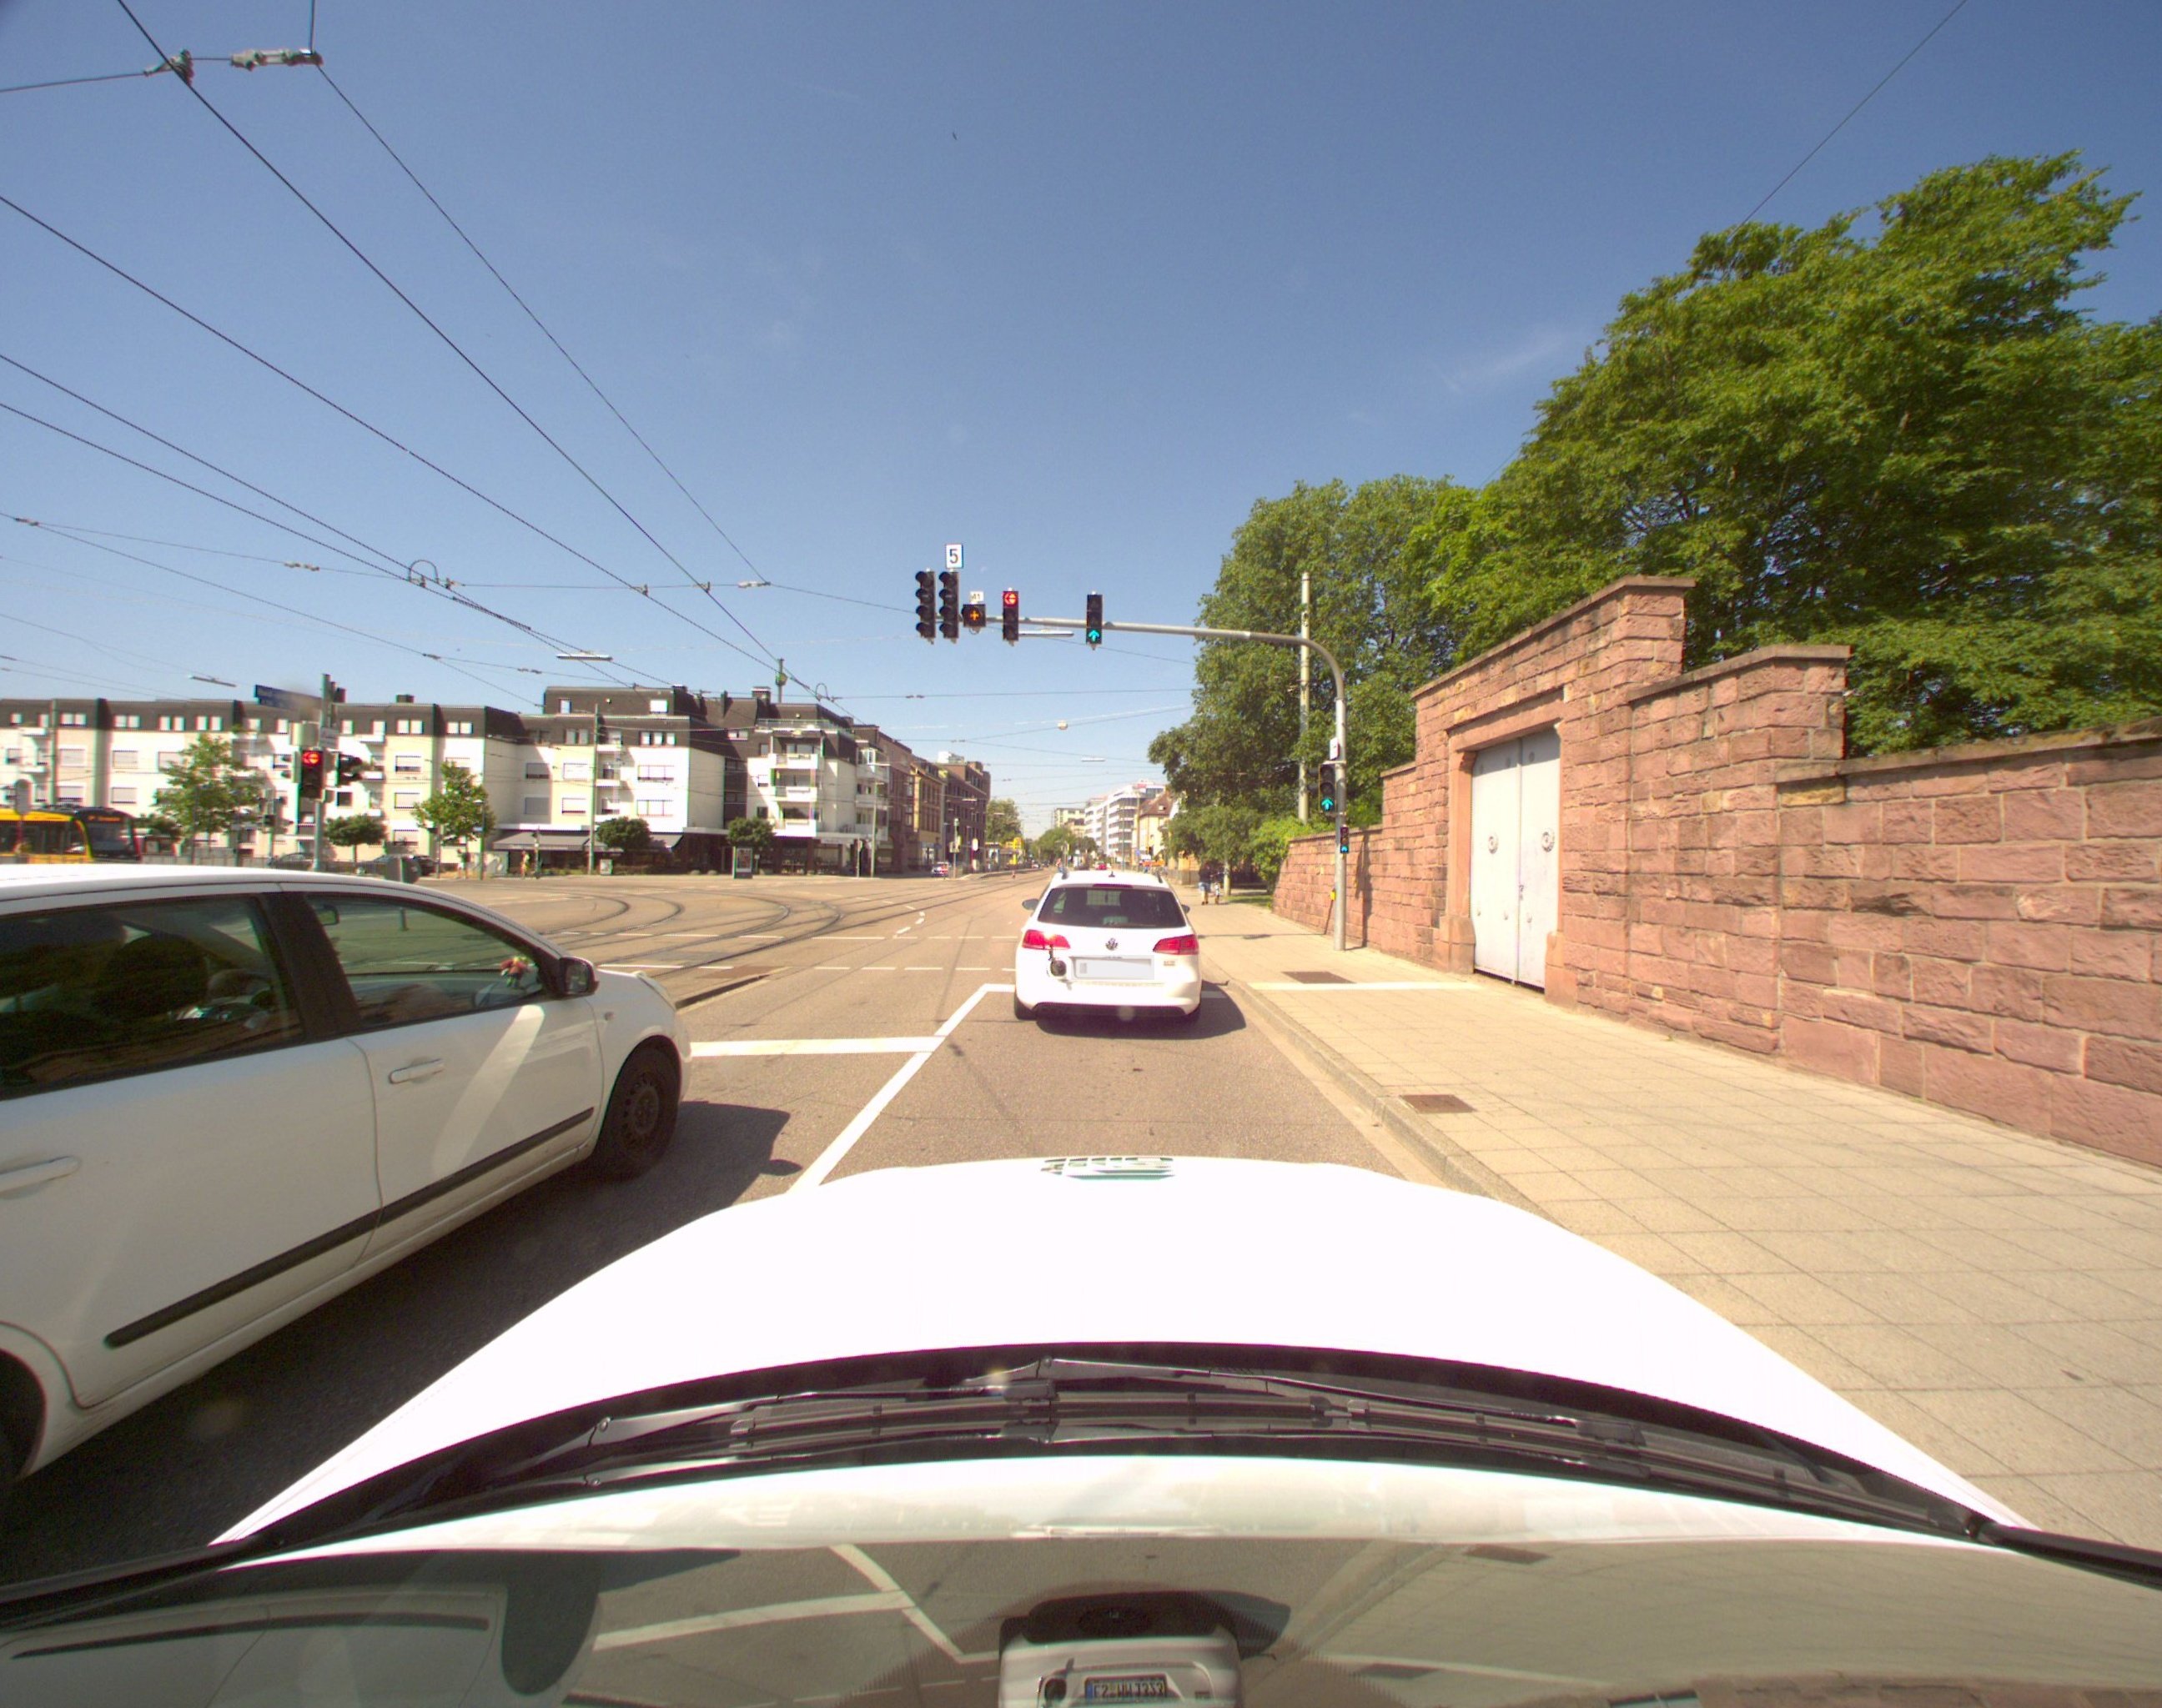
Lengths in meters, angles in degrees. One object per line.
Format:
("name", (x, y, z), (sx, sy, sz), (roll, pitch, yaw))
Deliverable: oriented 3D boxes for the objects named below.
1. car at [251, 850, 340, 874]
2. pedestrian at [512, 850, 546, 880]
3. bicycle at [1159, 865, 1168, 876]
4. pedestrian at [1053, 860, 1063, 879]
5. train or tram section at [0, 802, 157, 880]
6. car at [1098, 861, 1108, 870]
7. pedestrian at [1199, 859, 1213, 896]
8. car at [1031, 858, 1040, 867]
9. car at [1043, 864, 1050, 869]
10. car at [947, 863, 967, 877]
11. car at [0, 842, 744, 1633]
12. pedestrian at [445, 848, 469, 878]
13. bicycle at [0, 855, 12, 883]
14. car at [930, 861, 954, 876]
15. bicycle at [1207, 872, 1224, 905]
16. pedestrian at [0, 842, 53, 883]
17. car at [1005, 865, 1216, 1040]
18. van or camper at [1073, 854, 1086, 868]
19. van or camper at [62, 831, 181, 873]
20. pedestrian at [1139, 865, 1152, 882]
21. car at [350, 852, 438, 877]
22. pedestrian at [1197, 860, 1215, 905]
("car", (-51.203, 0.553, 53.152), (3.973, 1.500, 1.828), (1, -1, 0))
("pedestrian", (-34.638, 0.712, 51.114), (1.108, 1.836, 1.448), (0, -1, 37))
("bicycle", (9.027, 1.787, 89.212), (0.720, 1.139, 2.203), (1, -1, 14))
("pedestrian", (-2.146, 1.471, 76.910), (0.823, 1.809, 0.834), (1, -1, 2))
("train or tram section", (-53.609, -0.655, 39.755), (13.814, 3.658, 2.769), (1, -1, 1))
("car", (5.078, 2.715, 191.731), (1.989, 2.014, 3.995), (1, -1, -3))
("pedestrian", (5.799, 1.084, 37.764), (0.646, 1.682, 0.709), (1, -1, 9))
("car", (-10.688, 2.026, 192.361), (1.987, 2.014, 3.999), (-1, -1, 0))
("car", (-9.455, 3.446, 223.224), (1.662, 1.466, 3.774), (1, -1, 1))
("car", (-13.344, 1.684, 87.824), (1.568, 1.459, 3.811), (1, -1, -2))
("car", (-2.979, 0.779, 2.886), (1.759, 1.561, 4.068), (0, -1, 2))
("pedestrian", (-36.678, 0.541, 47.861), (0.754, 1.760, 0.816), (0, -1, 29))
("bicycle", (-38.756, 0.516, 28.520), (2.118, 0.947, 0.536), (1, -1, 6))
("car", (-13.683, 1.442, 80.076), (1.620, 1.431, 3.962), (2, -1, 0))
("bicycle", (4.778, 1.205, 28.816), (0.532, 1.111, 1.812), (0, -1, 11))
("pedestrian", (-47.563, 0.382, 36.718), (1.193, 1.838, 0.897), (1, -1, 1))
("car", (0.310, 0.847, 8.724), (1.746, 1.418, 3.854), (1, -1, 2))
("van or camper", (-0.403, 1.729, 191.708), (2.935, 3.180, 6.611), (1, -1, 0))
("van or camper", (-62.655, -0.092, 53.240), (4.859, 2.624, 2.376), (1, -1, 0))
("pedestrian", (5.735, 1.695, 72.093), (0.847, 1.510, 0.786), (0, -1, 38))
("car", (-44.936, 0.687, 53.301), (4.158, 1.500, 1.828), (1, -1, 0))
("pedestrian", (4.442, 1.011, 28.987), (0.538, 1.549, 0.663), (-1, -1, 1))
